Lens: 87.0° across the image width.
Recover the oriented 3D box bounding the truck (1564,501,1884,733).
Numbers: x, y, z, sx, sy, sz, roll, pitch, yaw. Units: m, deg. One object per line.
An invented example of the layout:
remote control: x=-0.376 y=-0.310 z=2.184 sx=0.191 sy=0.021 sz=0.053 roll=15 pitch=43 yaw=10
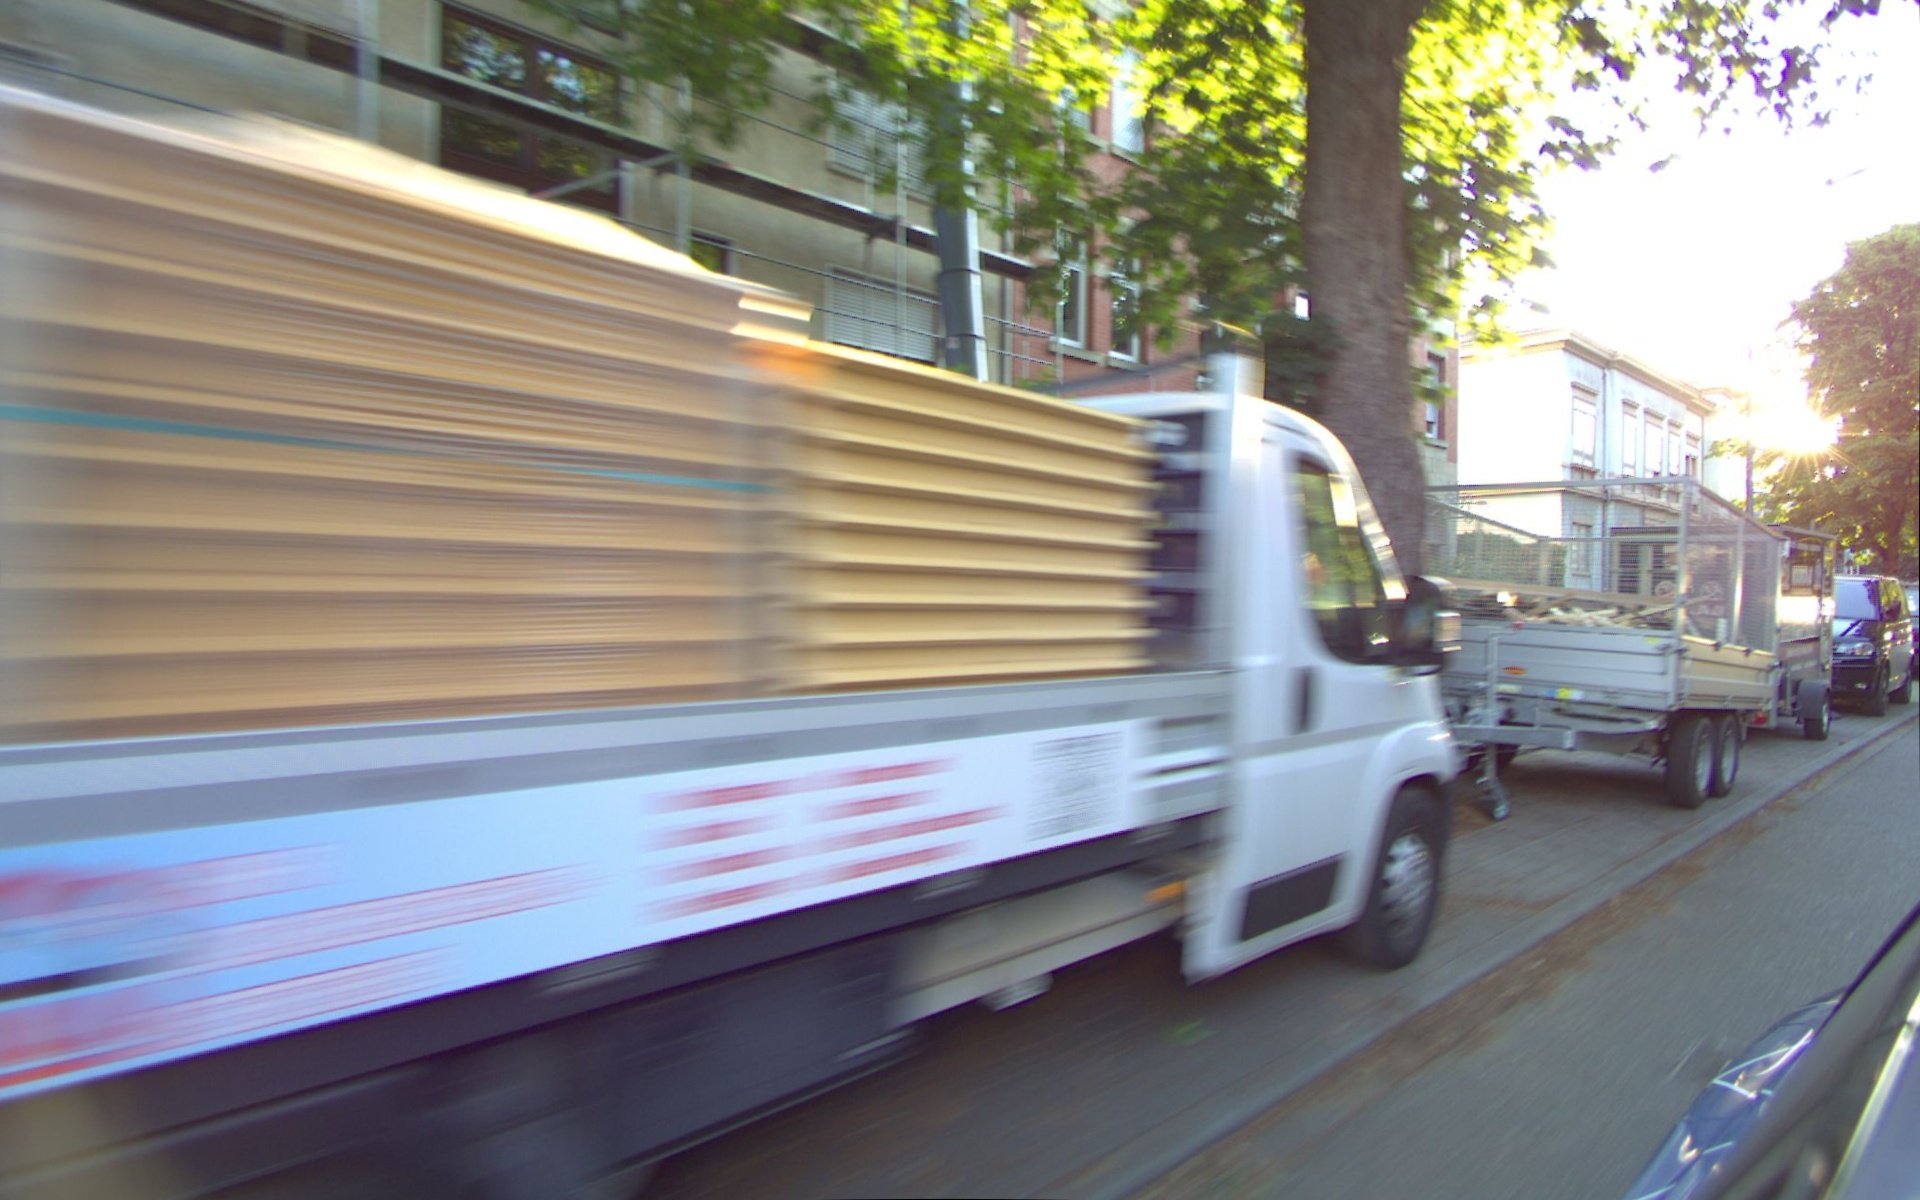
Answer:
truck: x=9.250 y=0.156 z=12.111 sx=4.561 sy=2.274 sz=1.959 roll=1 pitch=2 yaw=-40

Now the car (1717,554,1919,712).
car: x=12.972 y=0.421 z=15.054 sx=4.534 sy=1.966 sz=1.842 roll=1 pitch=2 yaw=-42

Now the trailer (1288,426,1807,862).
trailer: x=4.625 y=0.201 z=7.642 sx=4.564 sy=2.324 sz=1.958 roll=1 pitch=2 yaw=-41

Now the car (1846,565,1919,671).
car: x=20.928 y=0.401 z=21.989 sx=4.748 sy=2.084 sz=1.957 roll=1 pitch=2 yaw=-43

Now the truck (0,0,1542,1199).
truck: x=-0.512 y=0.254 z=2.934 sx=6.663 sy=2.272 sz=1.979 roll=0 pitch=1 yaw=-43
